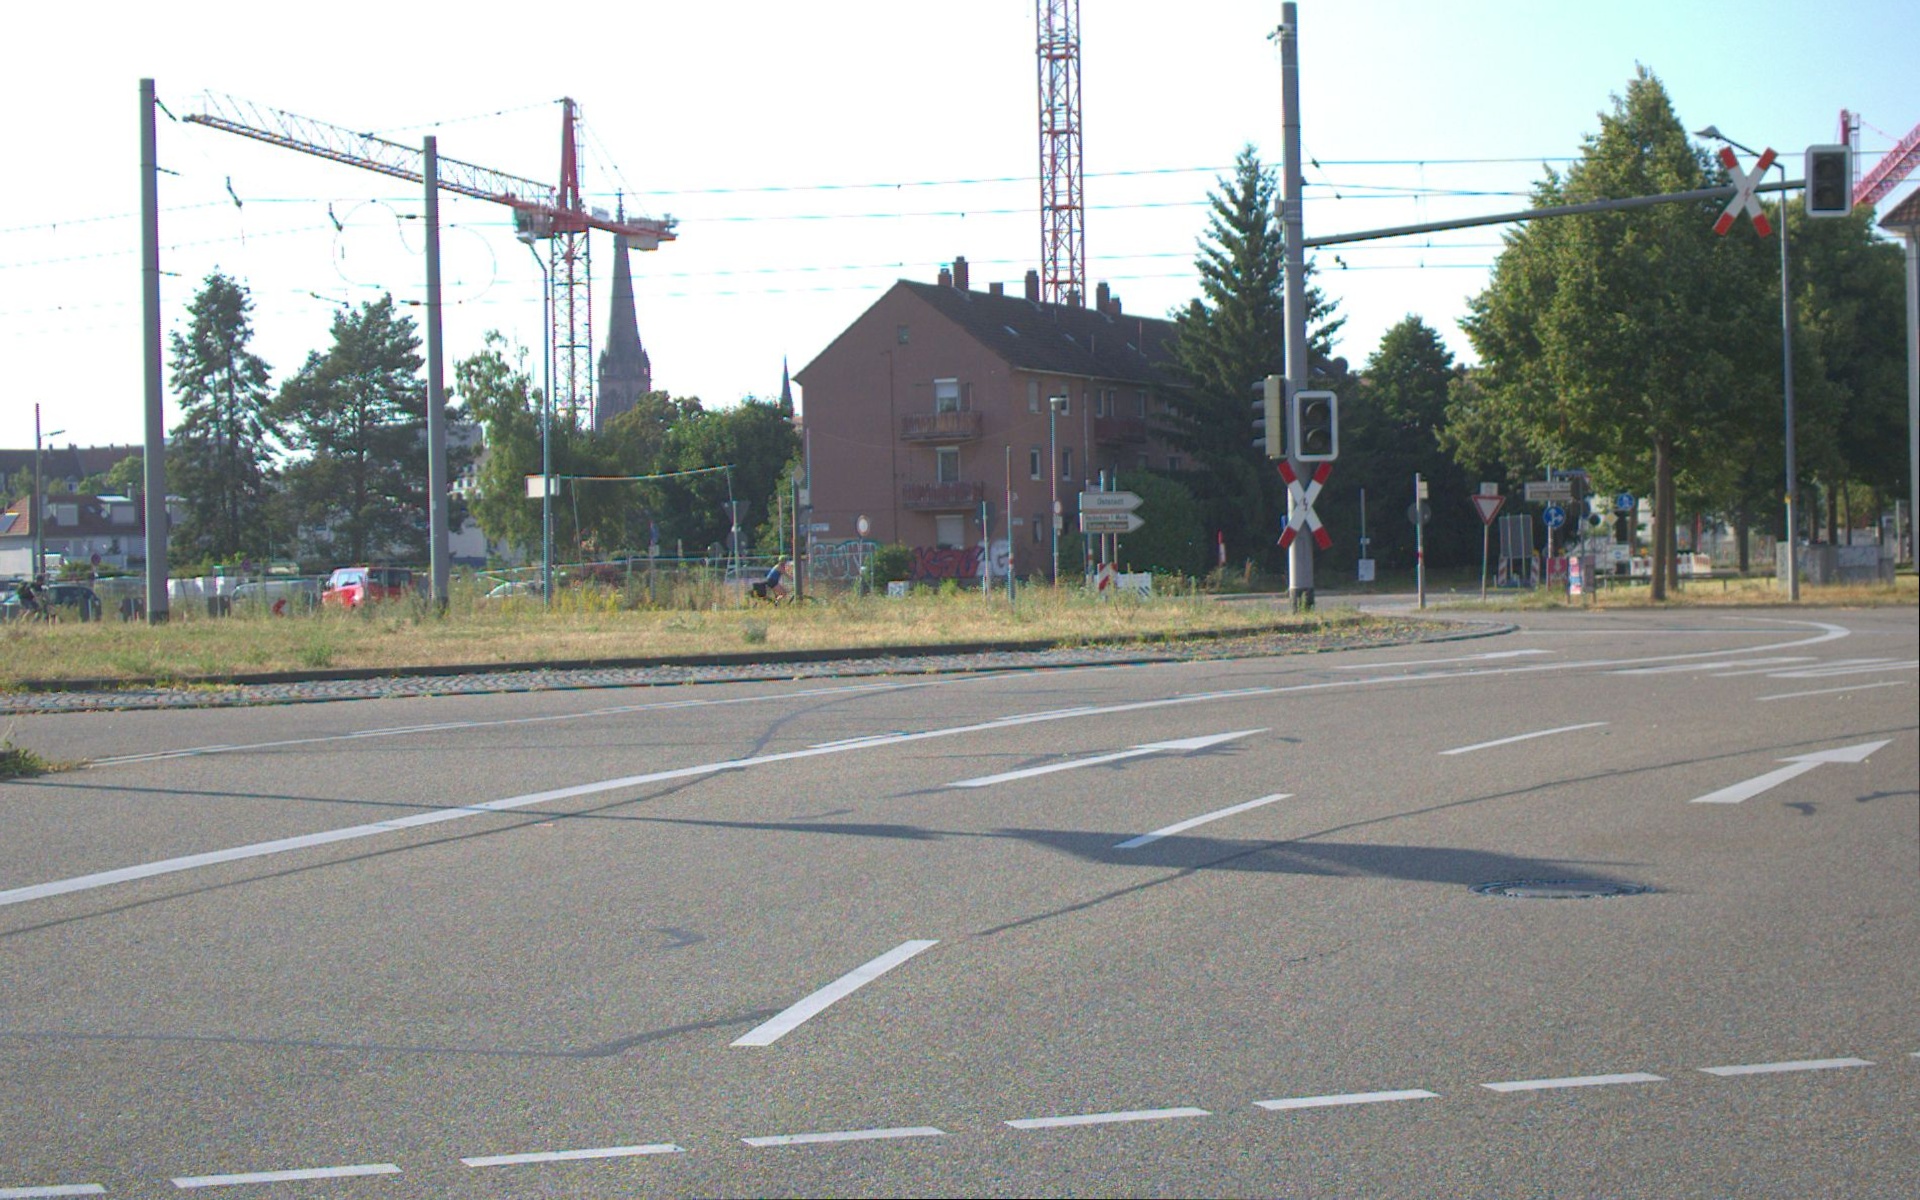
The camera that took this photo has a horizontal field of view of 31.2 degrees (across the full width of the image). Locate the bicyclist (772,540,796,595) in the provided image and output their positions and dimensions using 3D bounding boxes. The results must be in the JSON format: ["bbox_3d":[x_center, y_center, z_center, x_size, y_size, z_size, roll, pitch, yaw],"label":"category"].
[{"bbox_3d":[-4.910,-0.914,95.867,0.622,1.506,0.419,-1,1,-5],"label":"bicyclist"}]

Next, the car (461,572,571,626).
[{"bbox_3d":[-17.124,-0.053,132.675,3.812,2.007,1.670,-1,0,19],"label":"car"}]

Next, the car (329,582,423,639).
[{"bbox_3d":[-19.791,0.332,116.458,1.919,1.847,4.000,-2,1,-28],"label":"car"}]

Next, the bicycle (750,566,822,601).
[{"bbox_3d":[-4.854,-0.460,95.880,1.987,0.915,0.430,-1,1,-6],"label":"bicycle"}]

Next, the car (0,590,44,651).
[{"bbox_3d":[-30.069,0.661,104.221,3.987,1.809,2.000,-2,1,-32],"label":"car"}]

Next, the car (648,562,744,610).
[{"bbox_3d":[-11.468,-0.598,149.449,3.812,2.007,1.670,-1,0,19],"label":"car"}]

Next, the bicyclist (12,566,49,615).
[{"bbox_3d":[-26.452,-0.272,97.835,0.897,1.391,0.526,-1,1,-5],"label":"bicyclist"}]
